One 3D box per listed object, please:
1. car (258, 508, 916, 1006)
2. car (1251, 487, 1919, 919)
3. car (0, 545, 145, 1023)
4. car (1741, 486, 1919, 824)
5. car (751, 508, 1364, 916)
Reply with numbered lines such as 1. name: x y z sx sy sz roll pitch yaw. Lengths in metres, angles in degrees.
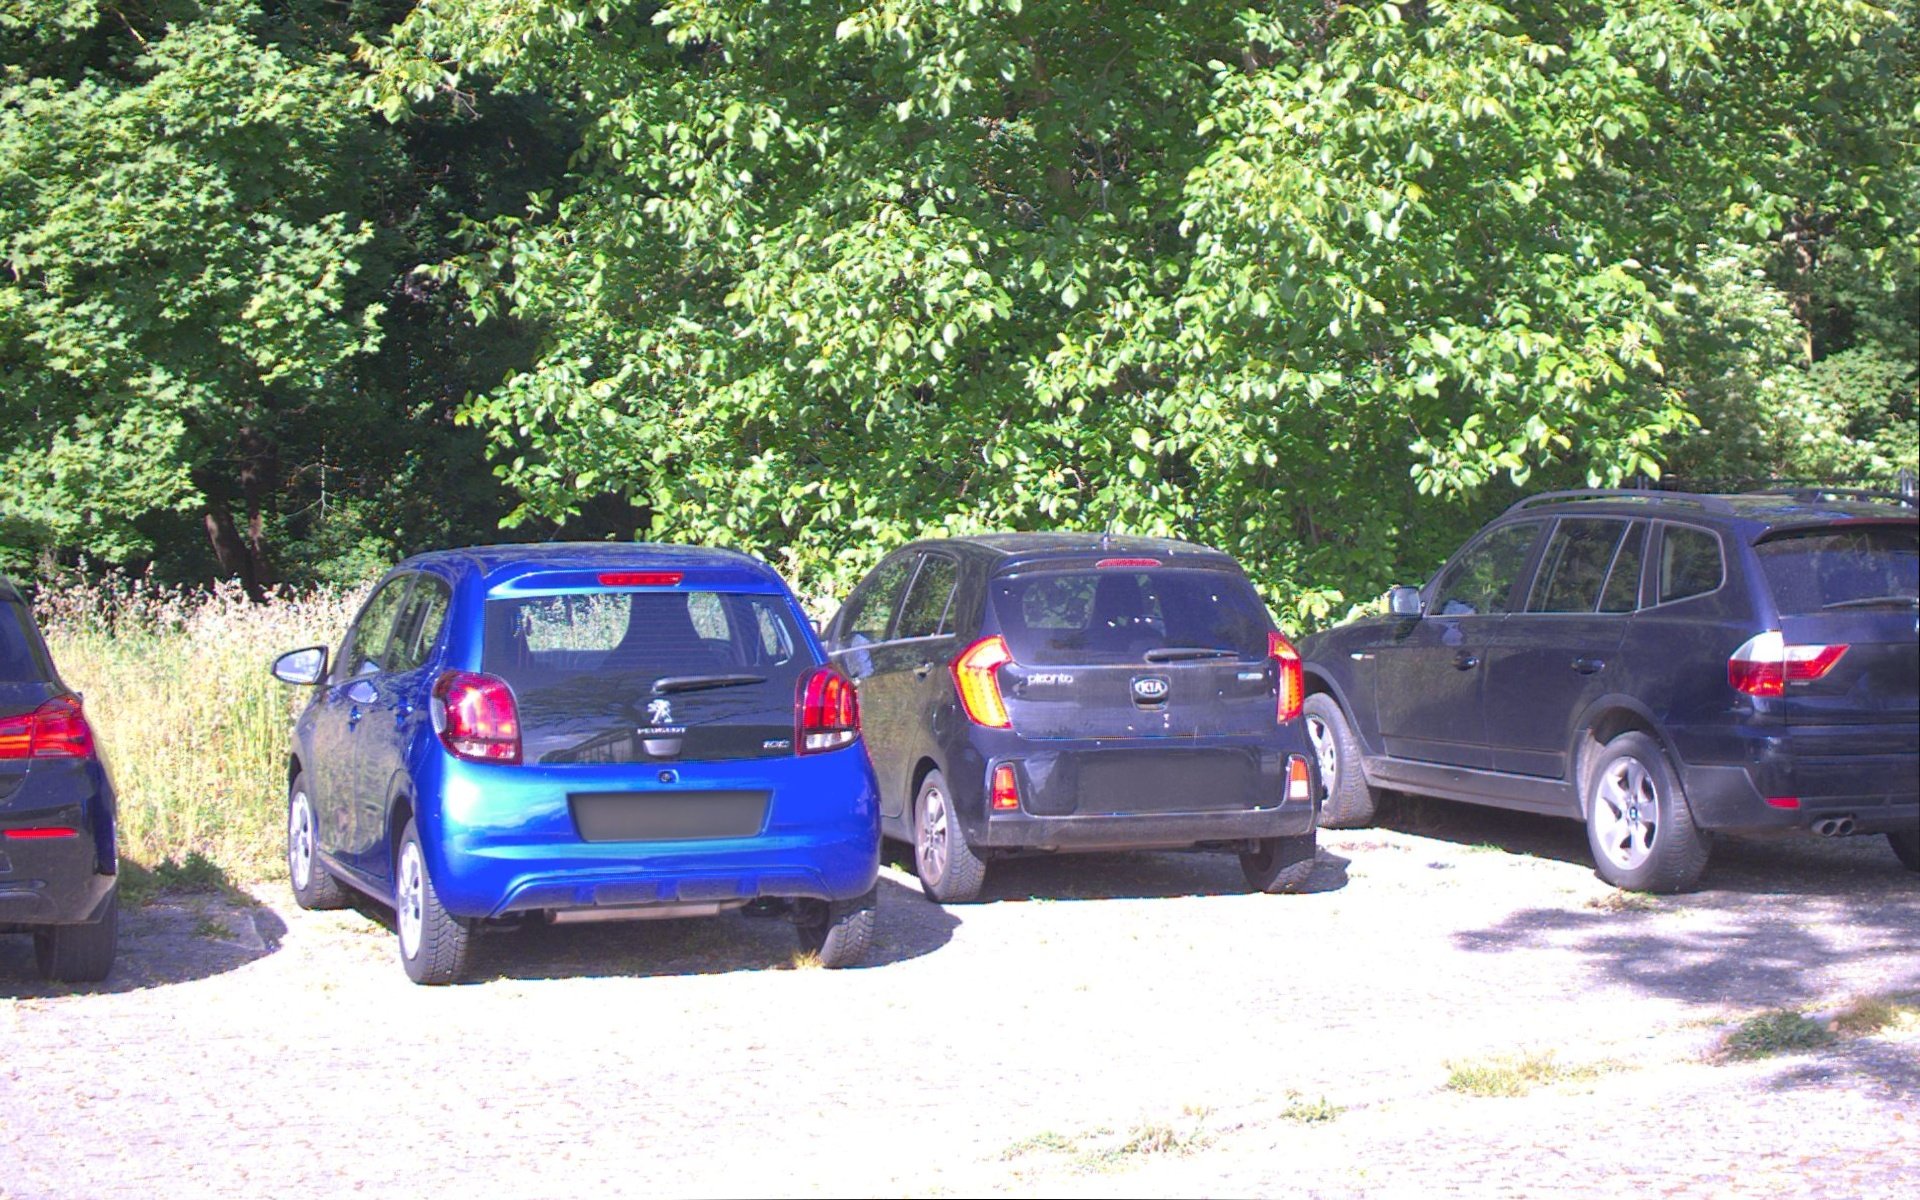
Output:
1. car: -1.547 0.452 12.996 1.708 1.488 3.665 -1 3 -19
2. car: 3.089 0.329 15.685 1.811 1.650 4.192 -1 2 -22
3. car: -4.043 0.547 12.027 1.828 1.446 3.664 -1 1 -21
4. car: 5.953 0.307 16.655 1.787 1.646 4.301 -1 3 -29
5. car: 0.295 0.390 15.106 1.672 1.510 3.553 0 2 -16
